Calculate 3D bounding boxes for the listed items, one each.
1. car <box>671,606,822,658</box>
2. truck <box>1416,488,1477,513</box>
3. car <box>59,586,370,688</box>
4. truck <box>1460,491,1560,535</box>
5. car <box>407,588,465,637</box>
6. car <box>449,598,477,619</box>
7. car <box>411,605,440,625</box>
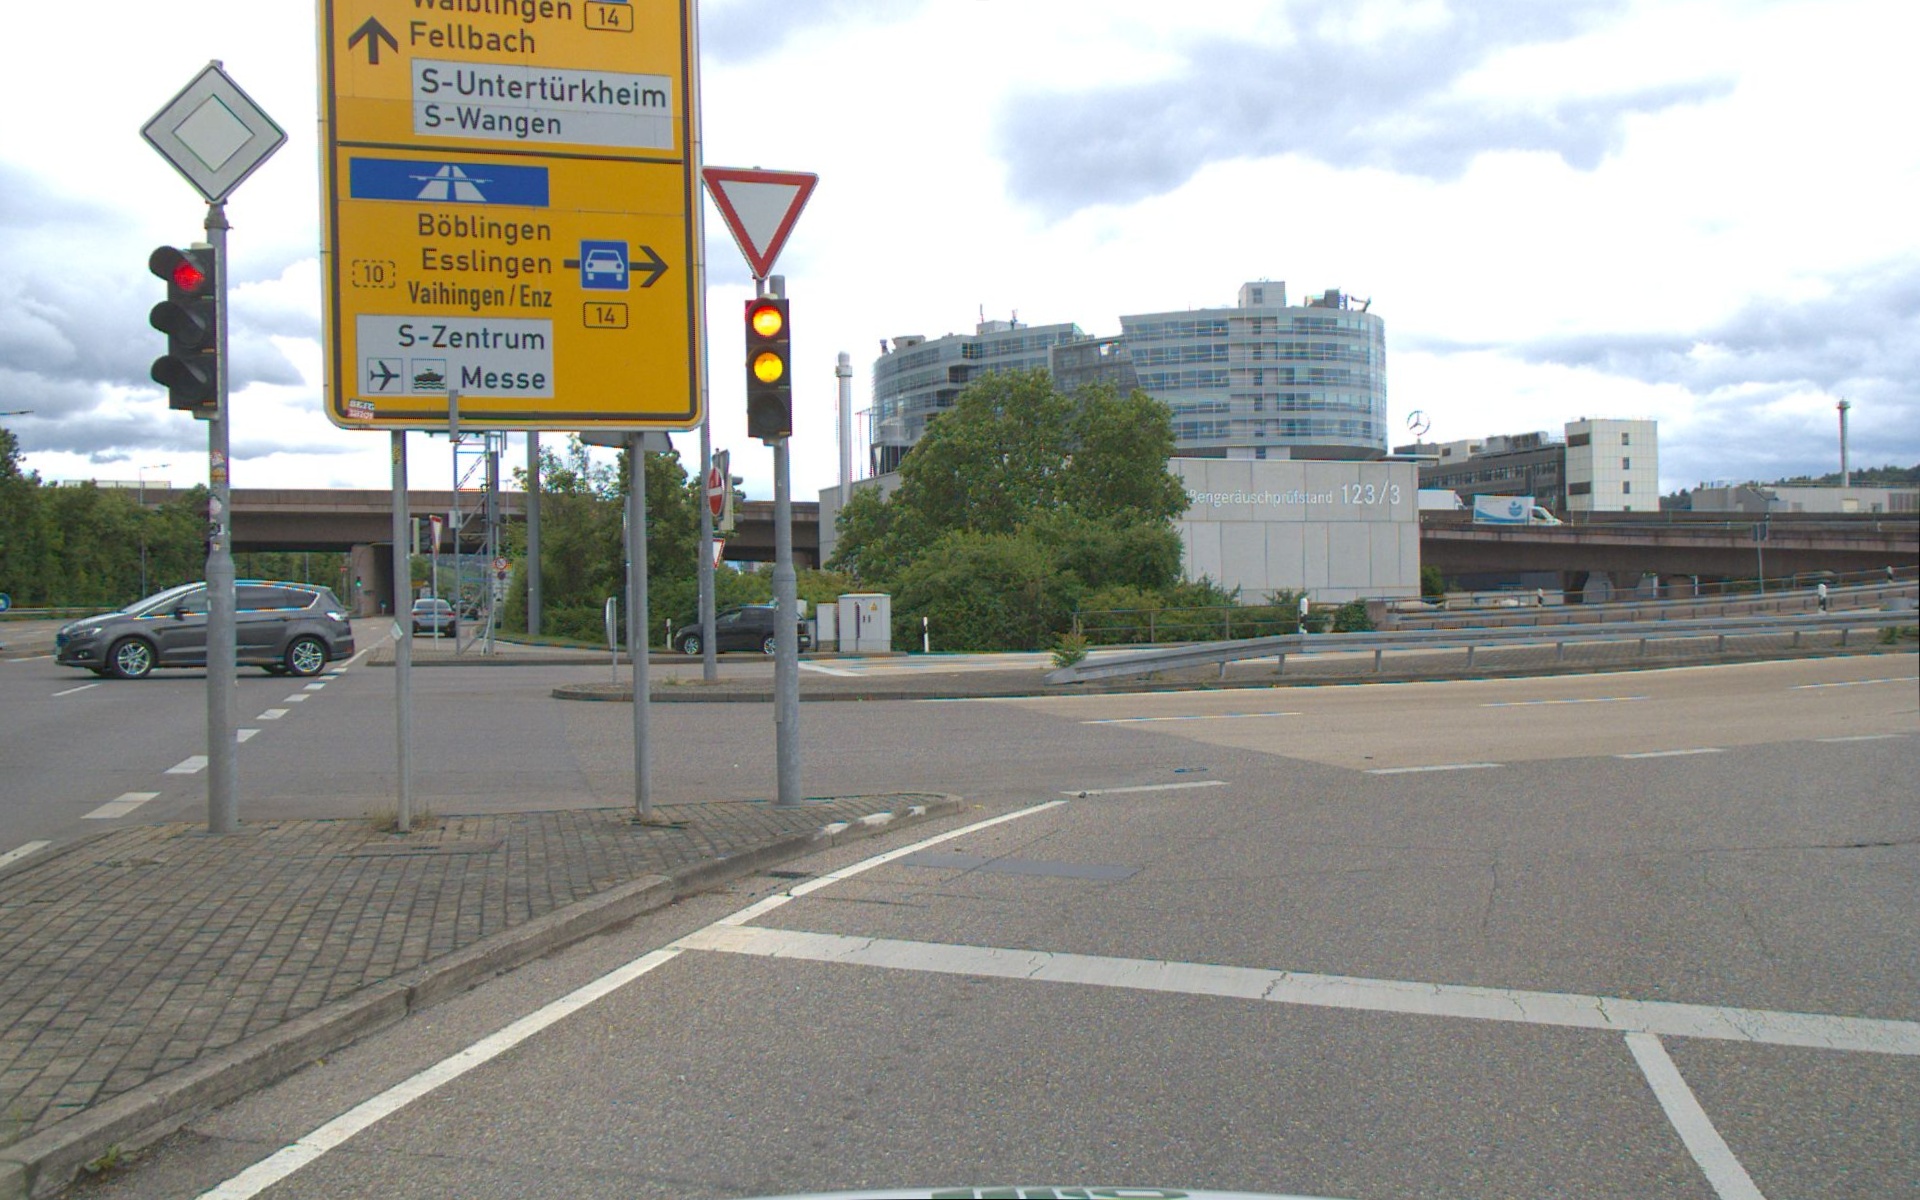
[{"bbox_3d":[-6.179,0.939,47.930,3.897,1.446,1.916,-1,-1,18],"label":"car"},{"bbox_3d":[48.792,-9.985,166.062,5.510,2.201,1.999,1,0,-3],"label":"truck"},{"bbox_3d":[-12.949,0.577,28.889,4.648,1.599,1.928,-1,1,-39],"label":"car"},{"bbox_3d":[43.659,-6.883,131.305,7.185,3.326,2.326,1,0,28],"label":"truck"},{"bbox_3d":[-20.557,0.455,64.745,1.881,1.691,4.719,3,0,-20],"label":"car"},{"bbox_3d":[-38.685,0.656,128.807,1.961,1.490,4.091,1,-2,-16],"label":"car"},{"bbox_3d":[-41.258,1.167,127.656,1.961,1.467,4.092,1,-2,-16],"label":"car"}]
